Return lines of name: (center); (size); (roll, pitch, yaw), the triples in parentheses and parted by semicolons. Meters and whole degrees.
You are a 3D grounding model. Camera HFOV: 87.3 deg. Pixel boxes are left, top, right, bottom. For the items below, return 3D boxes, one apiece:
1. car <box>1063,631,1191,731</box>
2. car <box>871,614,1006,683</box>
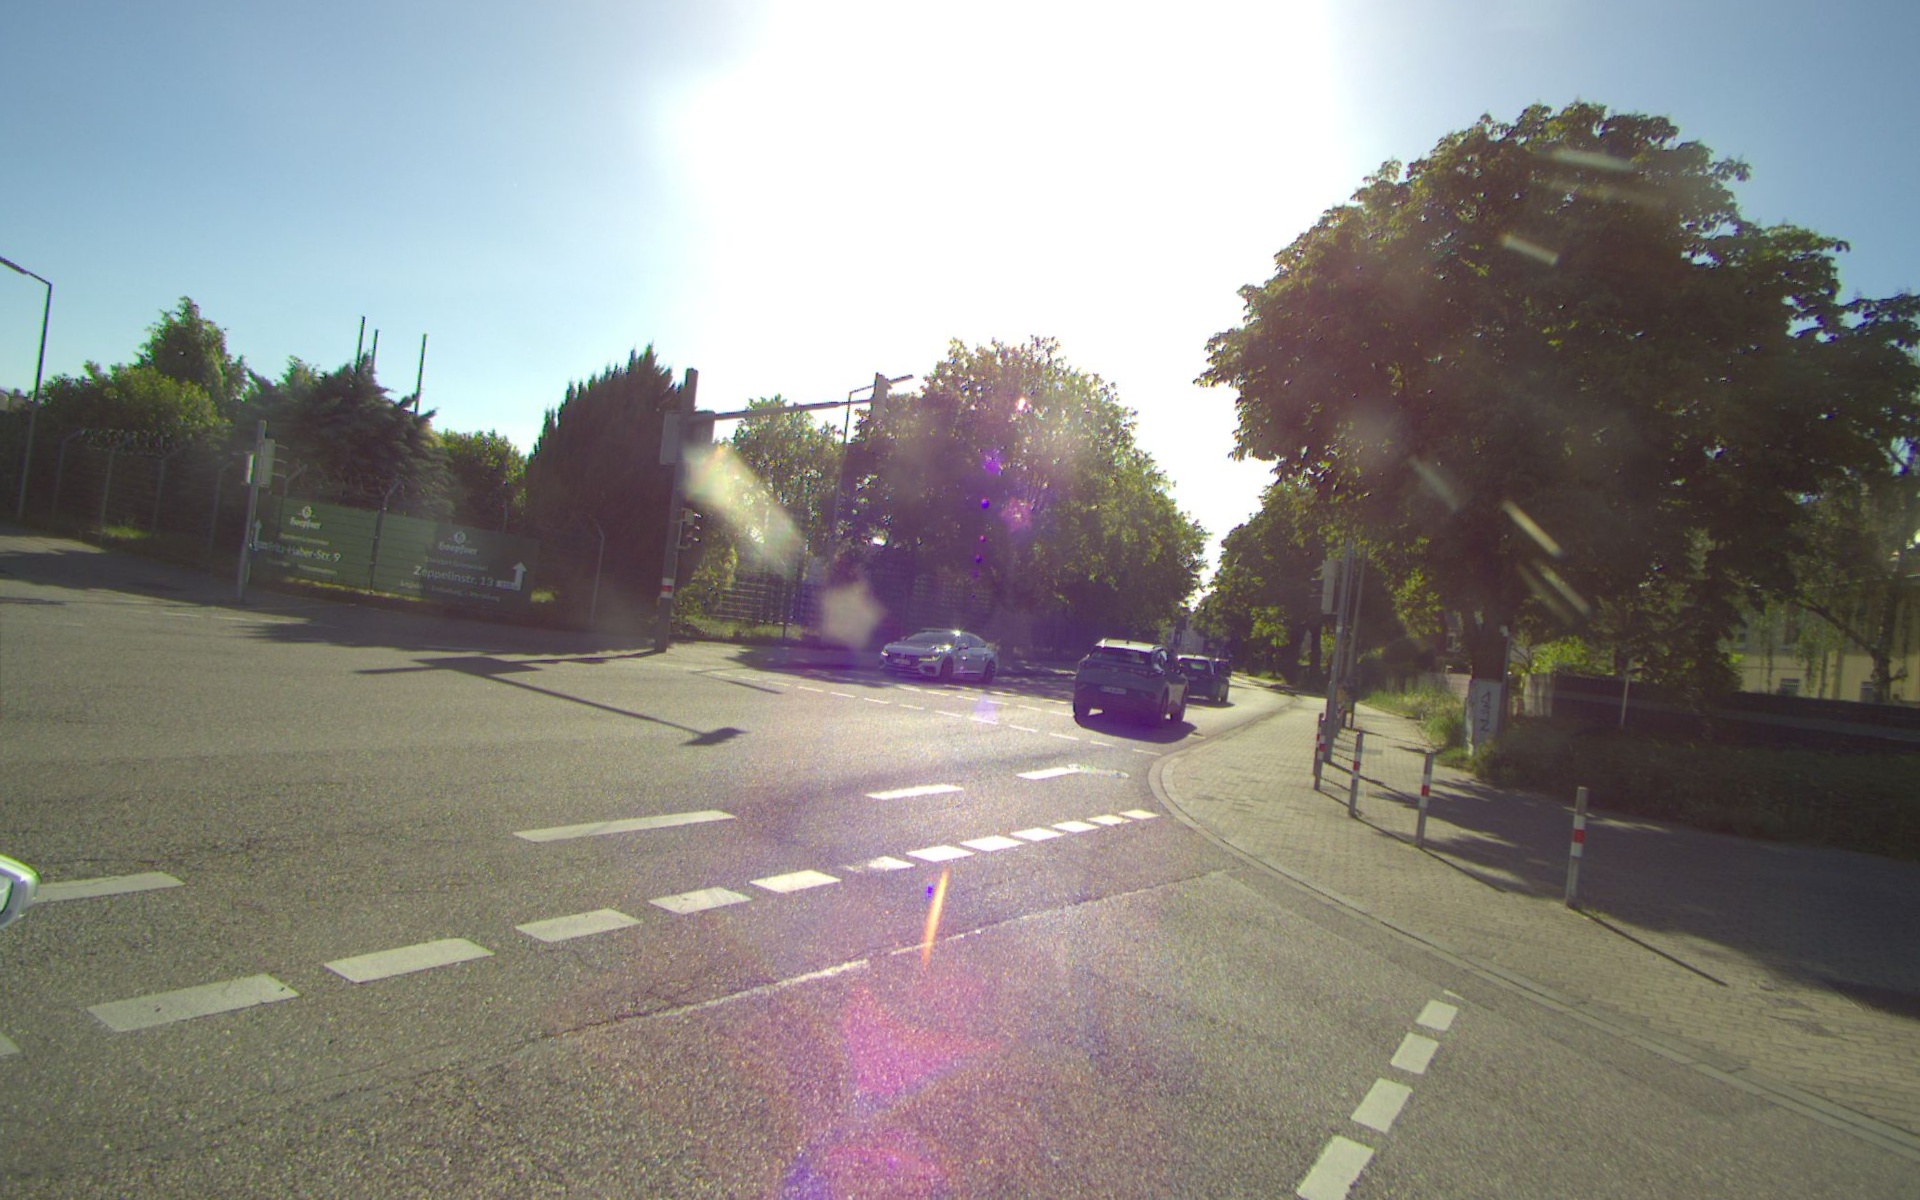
car: (3.651, 1.687, 21.306); (1.828, 1.654, 4.260); (8, -1, 19)
car: (-0.478, 1.393, 27.719); (1.778, 1.550, 4.513); (7, -1, 25)
